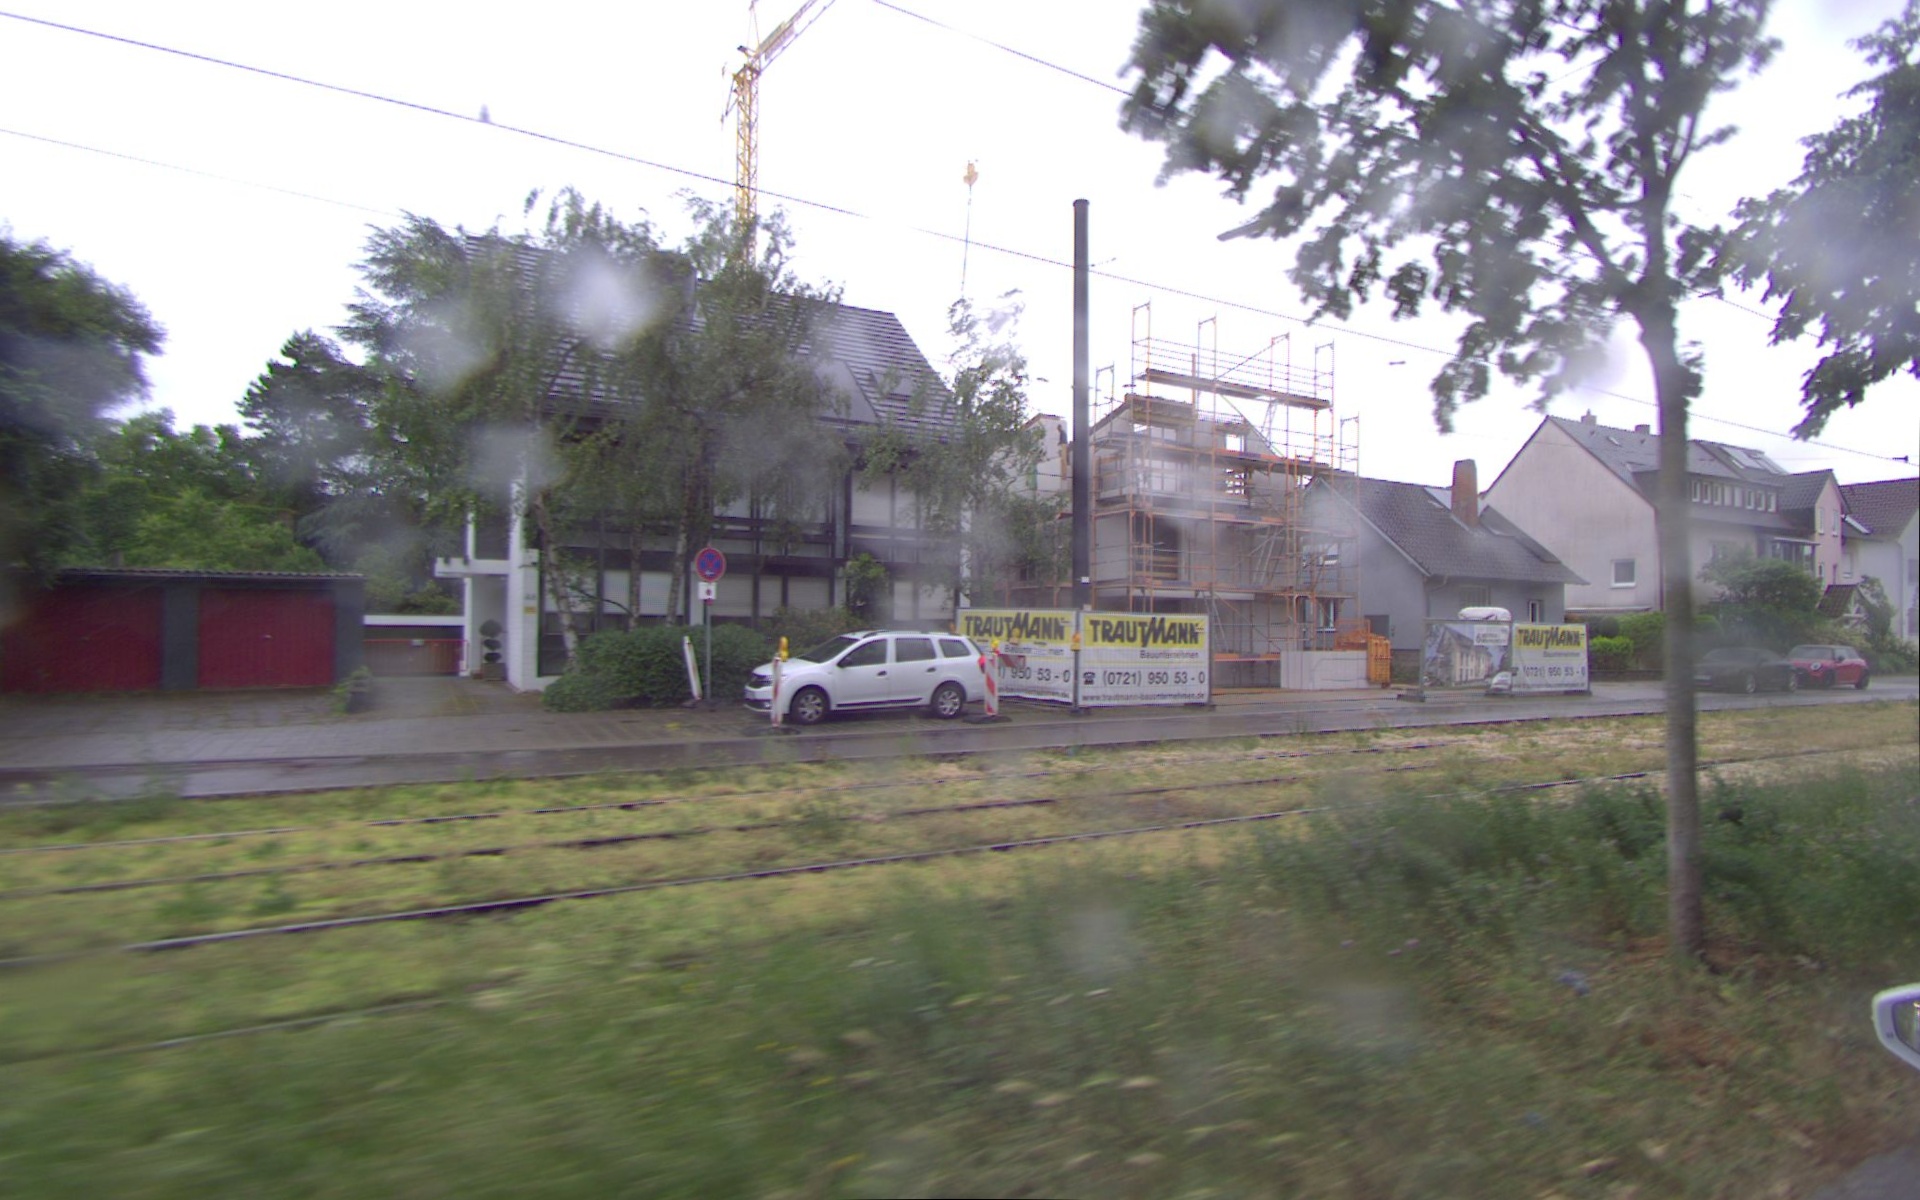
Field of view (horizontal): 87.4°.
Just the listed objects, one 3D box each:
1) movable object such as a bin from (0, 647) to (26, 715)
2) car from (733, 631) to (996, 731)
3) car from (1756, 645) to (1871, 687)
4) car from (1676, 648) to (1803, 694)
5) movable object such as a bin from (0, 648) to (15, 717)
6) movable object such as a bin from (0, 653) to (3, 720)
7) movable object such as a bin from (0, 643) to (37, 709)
[{"bbox_3d":[-16.640,1.386,17.245,0.748,1.153,0.557,1,-3,-29],"label":"movable object such as a bin"},{"bbox_3d":[-1.678,1.369,17.994,4.367,1.563,1.703,1,0,-28],"label":"car"},{"bbox_3d":[28.576,2.179,33.623,3.807,1.261,1.668,1,0,-28],"label":"car"},{"bbox_3d":[24.130,2.154,31.075,4.021,1.261,1.656,1,0,-29],"label":"car"},{"bbox_3d":[-16.317,1.368,16.683,0.748,1.153,0.557,1,-3,-29],"label":"movable object such as a bin"},{"bbox_3d":[-15.974,1.404,16.118,0.748,1.096,0.557,1,-3,-29],"label":"movable object such as a bin"},{"bbox_3d":[-16.921,1.336,17.755,0.748,1.153,0.557,1,-3,-29],"label":"movable object such as a bin"}]
